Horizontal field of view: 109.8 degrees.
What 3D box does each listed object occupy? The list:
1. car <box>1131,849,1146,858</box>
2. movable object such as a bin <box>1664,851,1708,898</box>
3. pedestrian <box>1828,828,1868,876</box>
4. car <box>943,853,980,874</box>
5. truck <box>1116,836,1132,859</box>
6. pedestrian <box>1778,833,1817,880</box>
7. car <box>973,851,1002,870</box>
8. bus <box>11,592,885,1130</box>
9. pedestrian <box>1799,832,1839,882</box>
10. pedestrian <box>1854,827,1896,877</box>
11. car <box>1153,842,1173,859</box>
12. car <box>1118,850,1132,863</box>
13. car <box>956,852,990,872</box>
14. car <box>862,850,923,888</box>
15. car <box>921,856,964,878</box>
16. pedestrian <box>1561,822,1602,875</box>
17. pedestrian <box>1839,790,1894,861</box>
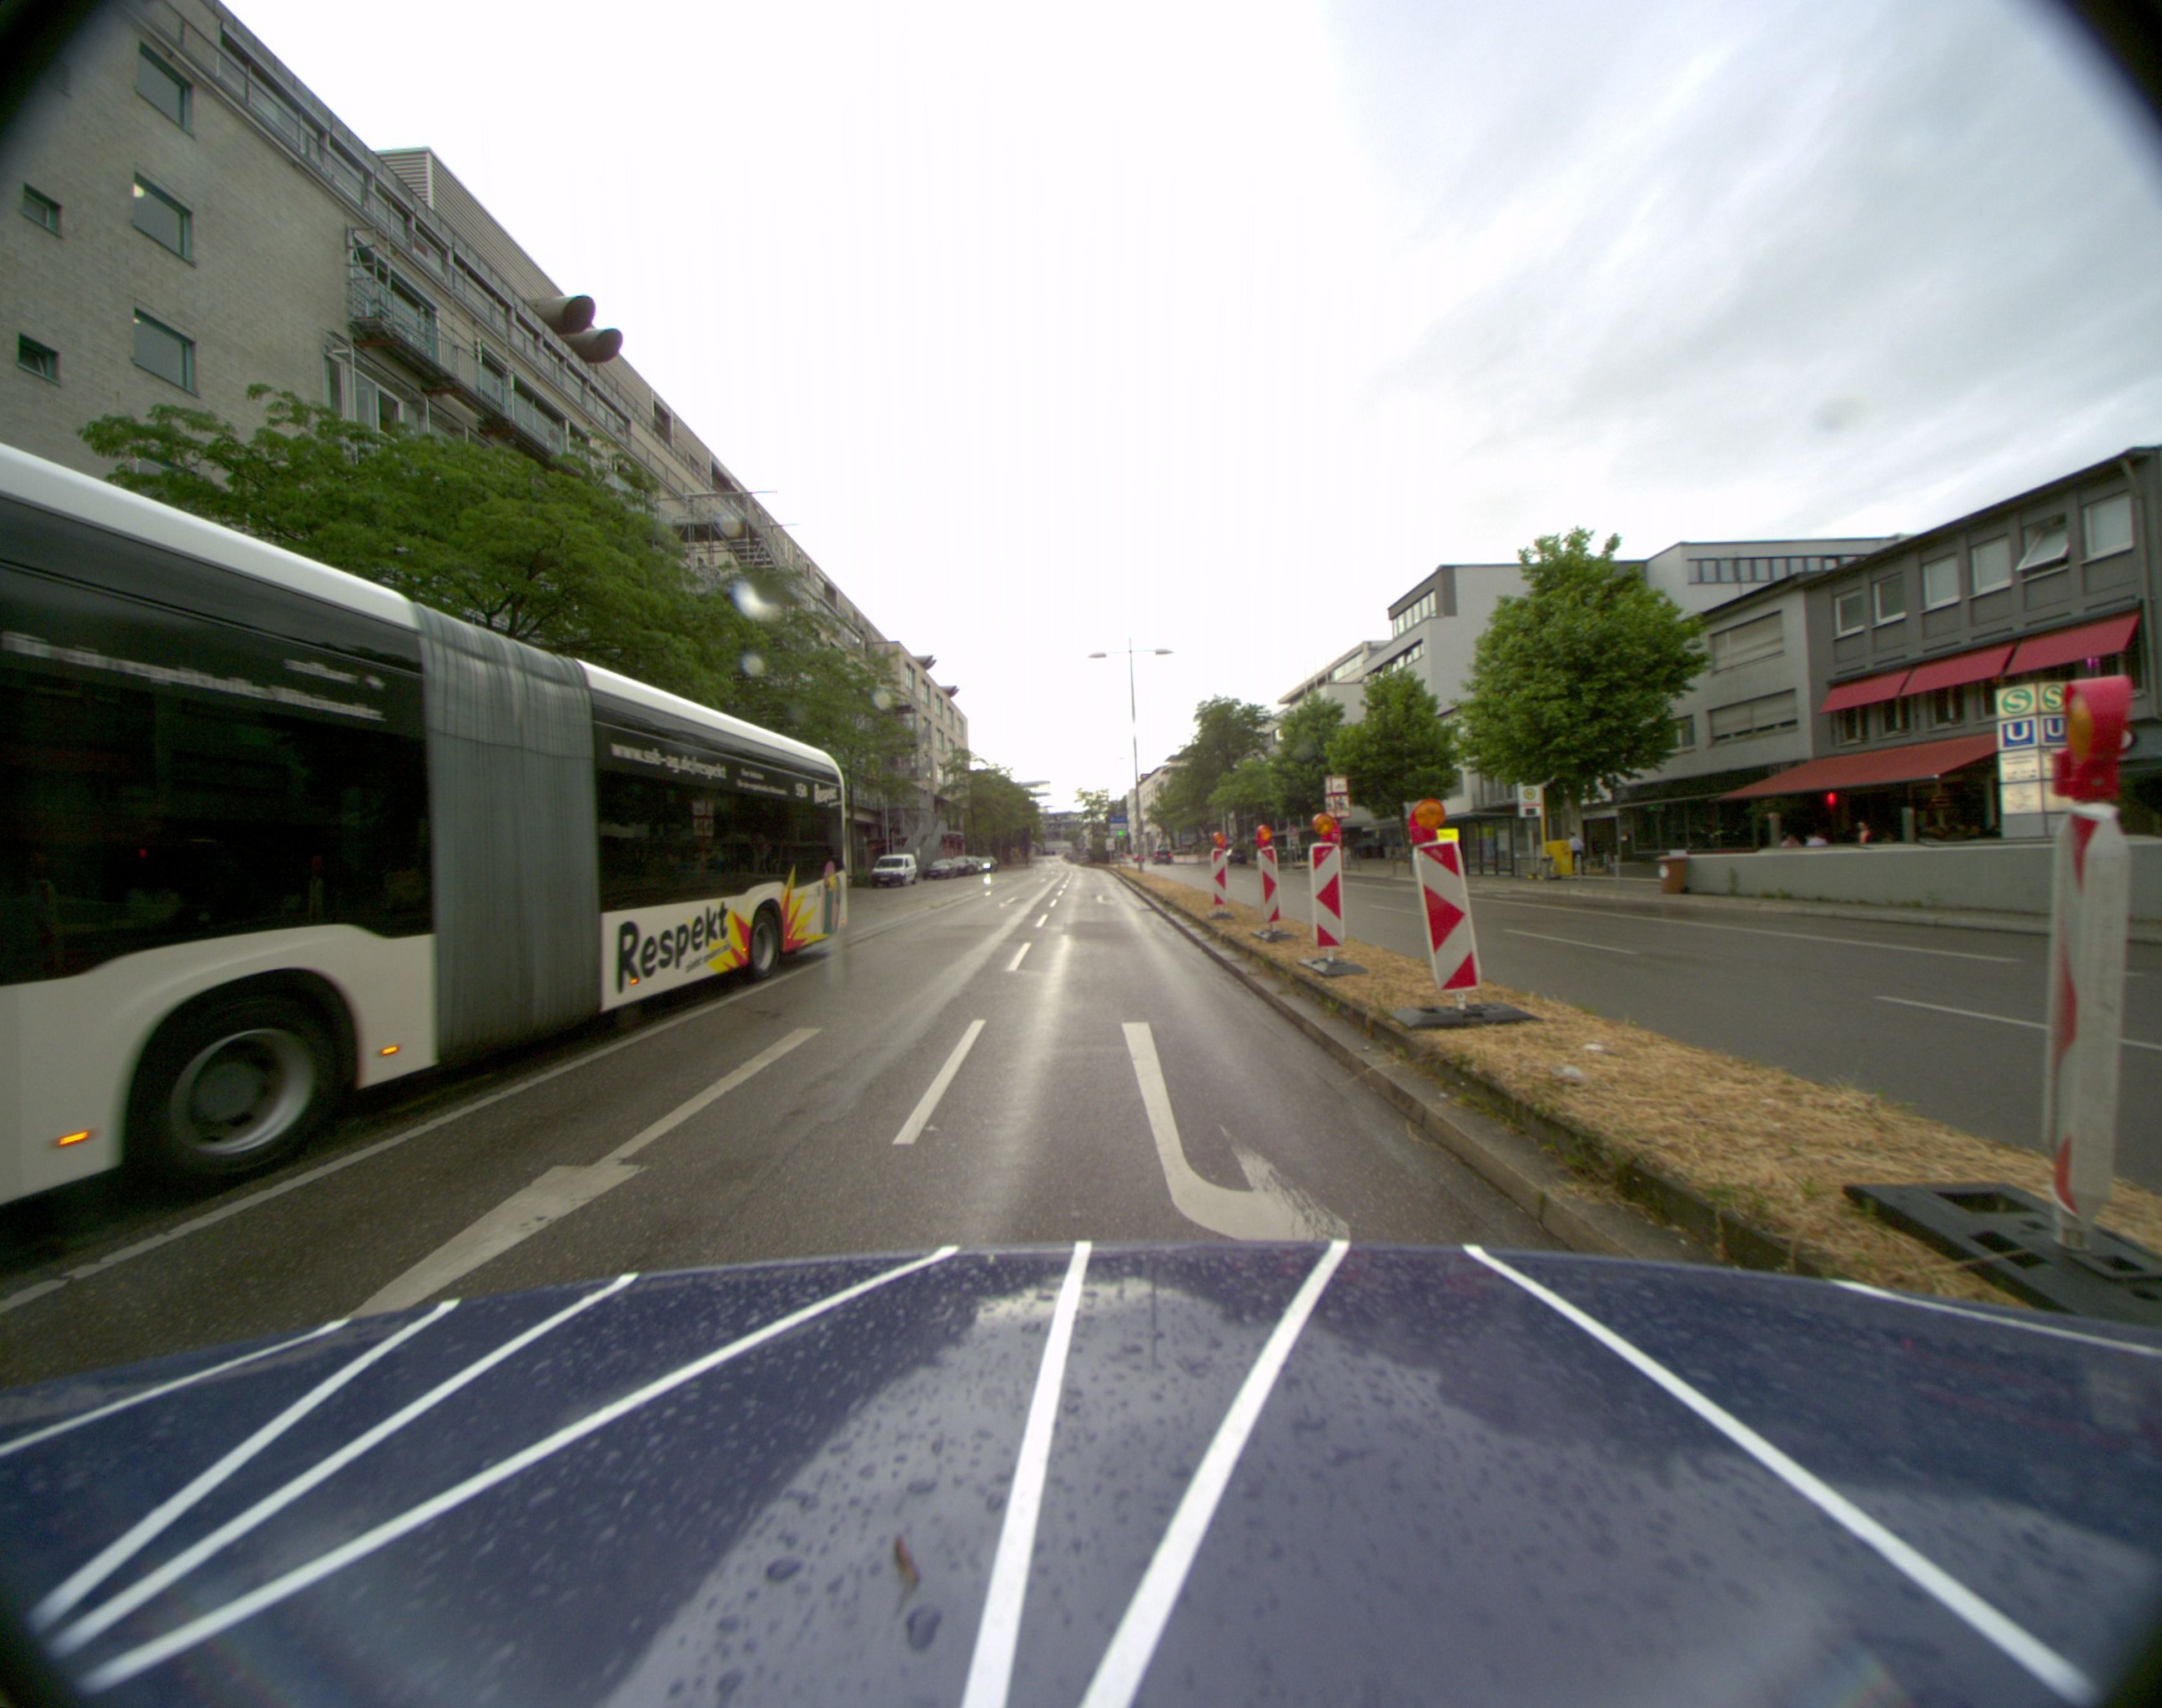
[{"bbox_3d":[10.172,-0.015,135.189,1.693,1.501,4.288,-2,0,-8],"label":"car"},{"bbox_3d":[14.565,0.479,18.310,0.507,1.094,0.660,-2,1,-2],"label":"movable object such as a bin"},{"bbox_3d":[24.997,-0.072,24.783,0.669,1.520,0.611,-2,1,4],"label":"pedestrian"},{"bbox_3d":[-9.616,0.731,61.364,2.147,1.486,4.816,-2,1,1],"label":"car"},{"bbox_3d":[7.120,-1.073,127.248,1.999,3.557,7.571,-2,0,-2],"label":"truck"},{"bbox_3d":[23.345,0.083,24.772,0.669,1.520,0.611,-2,1,3],"label":"pedestrian"},{"bbox_3d":[-8.885,0.604,72.569,2.147,1.637,4.816,-2,1,1],"label":"car"},{"bbox_3d":[-5.381,-0.011,9.829,2.890,3.420,9.709,-2,1,1],"label":"bus"},{"bbox_3d":[23.212,0.094,23.902,0.669,1.520,0.611,-2,1,3],"label":"pedestrian"},{"bbox_3d":[24.995,-0.061,23.930,0.669,1.520,0.611,-2,1,3],"label":"pedestrian"},{"bbox_3d":[10.007,-0.403,93.031,1.998,1.916,4.964,0,2,2],"label":"car"},{"bbox_3d":[7.066,0.335,122.520,1.998,2.002,4.000,-2,1,2],"label":"car"},{"bbox_3d":[-9.456,0.669,66.833,2.147,1.552,4.816,-2,1,1],"label":"car"},{"bbox_3d":[-10.520,0.806,42.802,2.213,1.895,4.329,-2,1,1],"label":"car"},{"bbox_3d":[-9.882,0.908,54.568,2.147,1.329,4.816,-2,1,1],"label":"car"},{"bbox_3d":[19.367,-0.215,29.431,0.922,2.002,0.944,-2,1,0],"label":"pedestrian"},{"bbox_3d":[20.798,-0.742,20.134,0.611,1.813,0.791,-2,1,-6],"label":"pedestrian"}]
